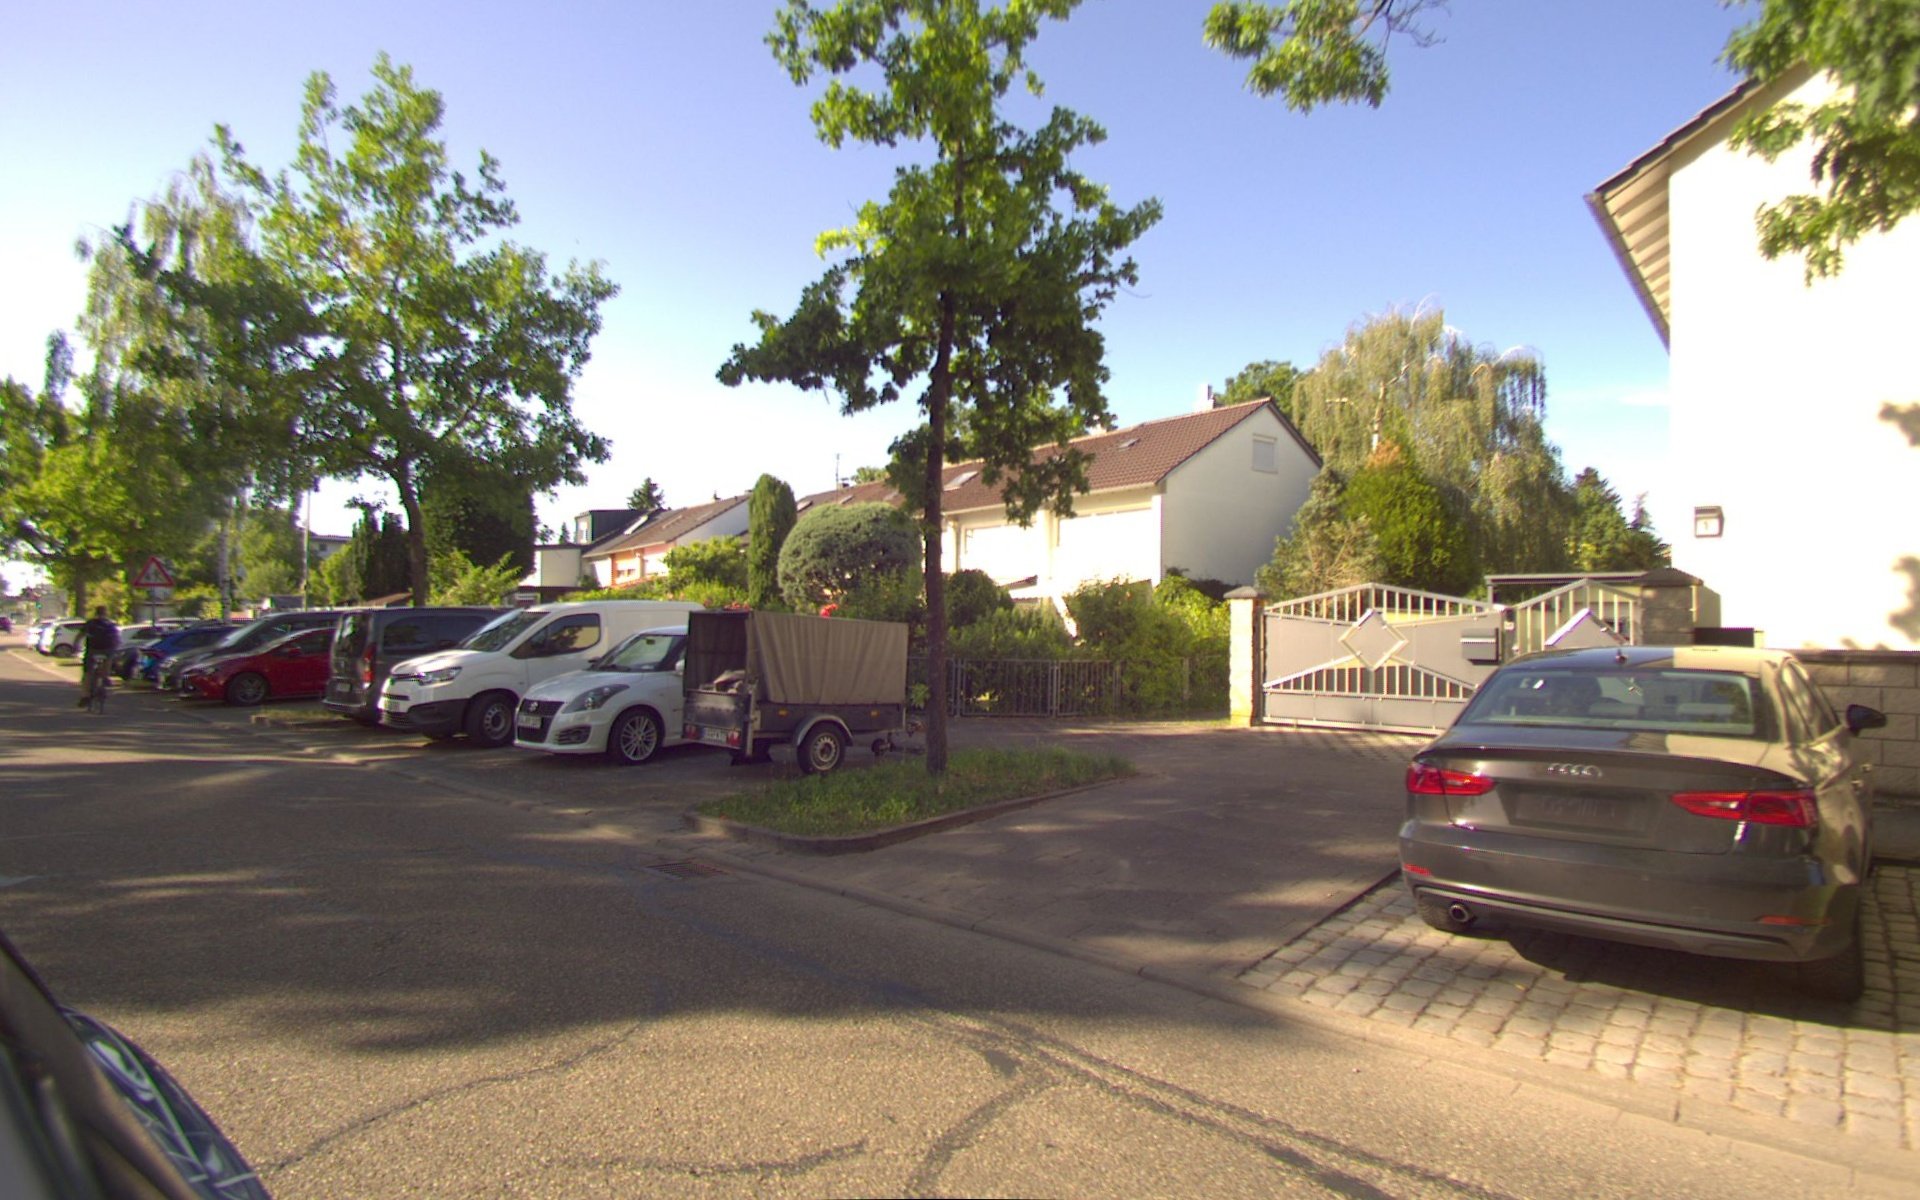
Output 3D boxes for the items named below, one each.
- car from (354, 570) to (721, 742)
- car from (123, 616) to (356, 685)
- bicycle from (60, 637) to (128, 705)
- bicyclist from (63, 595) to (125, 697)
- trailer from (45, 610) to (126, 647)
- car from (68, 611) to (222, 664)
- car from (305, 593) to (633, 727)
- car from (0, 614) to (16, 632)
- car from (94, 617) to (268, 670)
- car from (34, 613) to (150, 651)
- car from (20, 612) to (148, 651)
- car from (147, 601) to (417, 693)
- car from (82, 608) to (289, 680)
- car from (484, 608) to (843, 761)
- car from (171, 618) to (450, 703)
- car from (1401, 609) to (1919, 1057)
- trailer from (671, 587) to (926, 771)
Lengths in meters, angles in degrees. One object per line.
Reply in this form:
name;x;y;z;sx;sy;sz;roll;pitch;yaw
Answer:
car;-5.593;0.697;13.856;1.998;1.959;4.195;-1;-2;39
car;-16.860;1.116;23.846;1.723;1.435;4.225;-1;-1;42
bicycle;-14.723;1.190;17.187;1.986;1.066;0.590;-1;-5;43
bicyclist;-14.793;0.785;17.286;0.975;1.687;0.589;-1;-5;43
trailer;-41.618;1.327;48.191;1.298;1.659;2.732;1;0;38
car;-27.507;1.215;34.246;1.707;1.626;3.895;-2;-1;44
car;-7.508;0.816;15.801;1.965;1.783;4.197;-1;-1;39
car;-85.654;2.068;90.412;1.740;1.489;3.853;5;-5;-44
car;-23.665;1.293;30.819;1.796;1.526;3.957;-1;-2;44
car;-36.446;1.340;42.536;1.707;1.507;3.477;-1;-2;41
car;-38.271;1.330;44.302;1.919;1.586;3.917;0;0;36
car;-14.689;0.930;22.154;1.794;1.782;4.624;-1;-1;41
car;-20.563;1.105;26.993;1.760;1.737;4.165;-1;-1;42
car;-3.414;0.885;12.271;1.688;1.528;3.949;-1;-1;38
car;-12.931;1.122;20.362;1.837;1.511;4.426;-1;-1;44
car;3.932;0.833;5.477;1.689;1.483;4.166;-1;-2;41
trailer;-1.656;0.766;10.615;2.210;1.686;1.475;2;-3;-45
